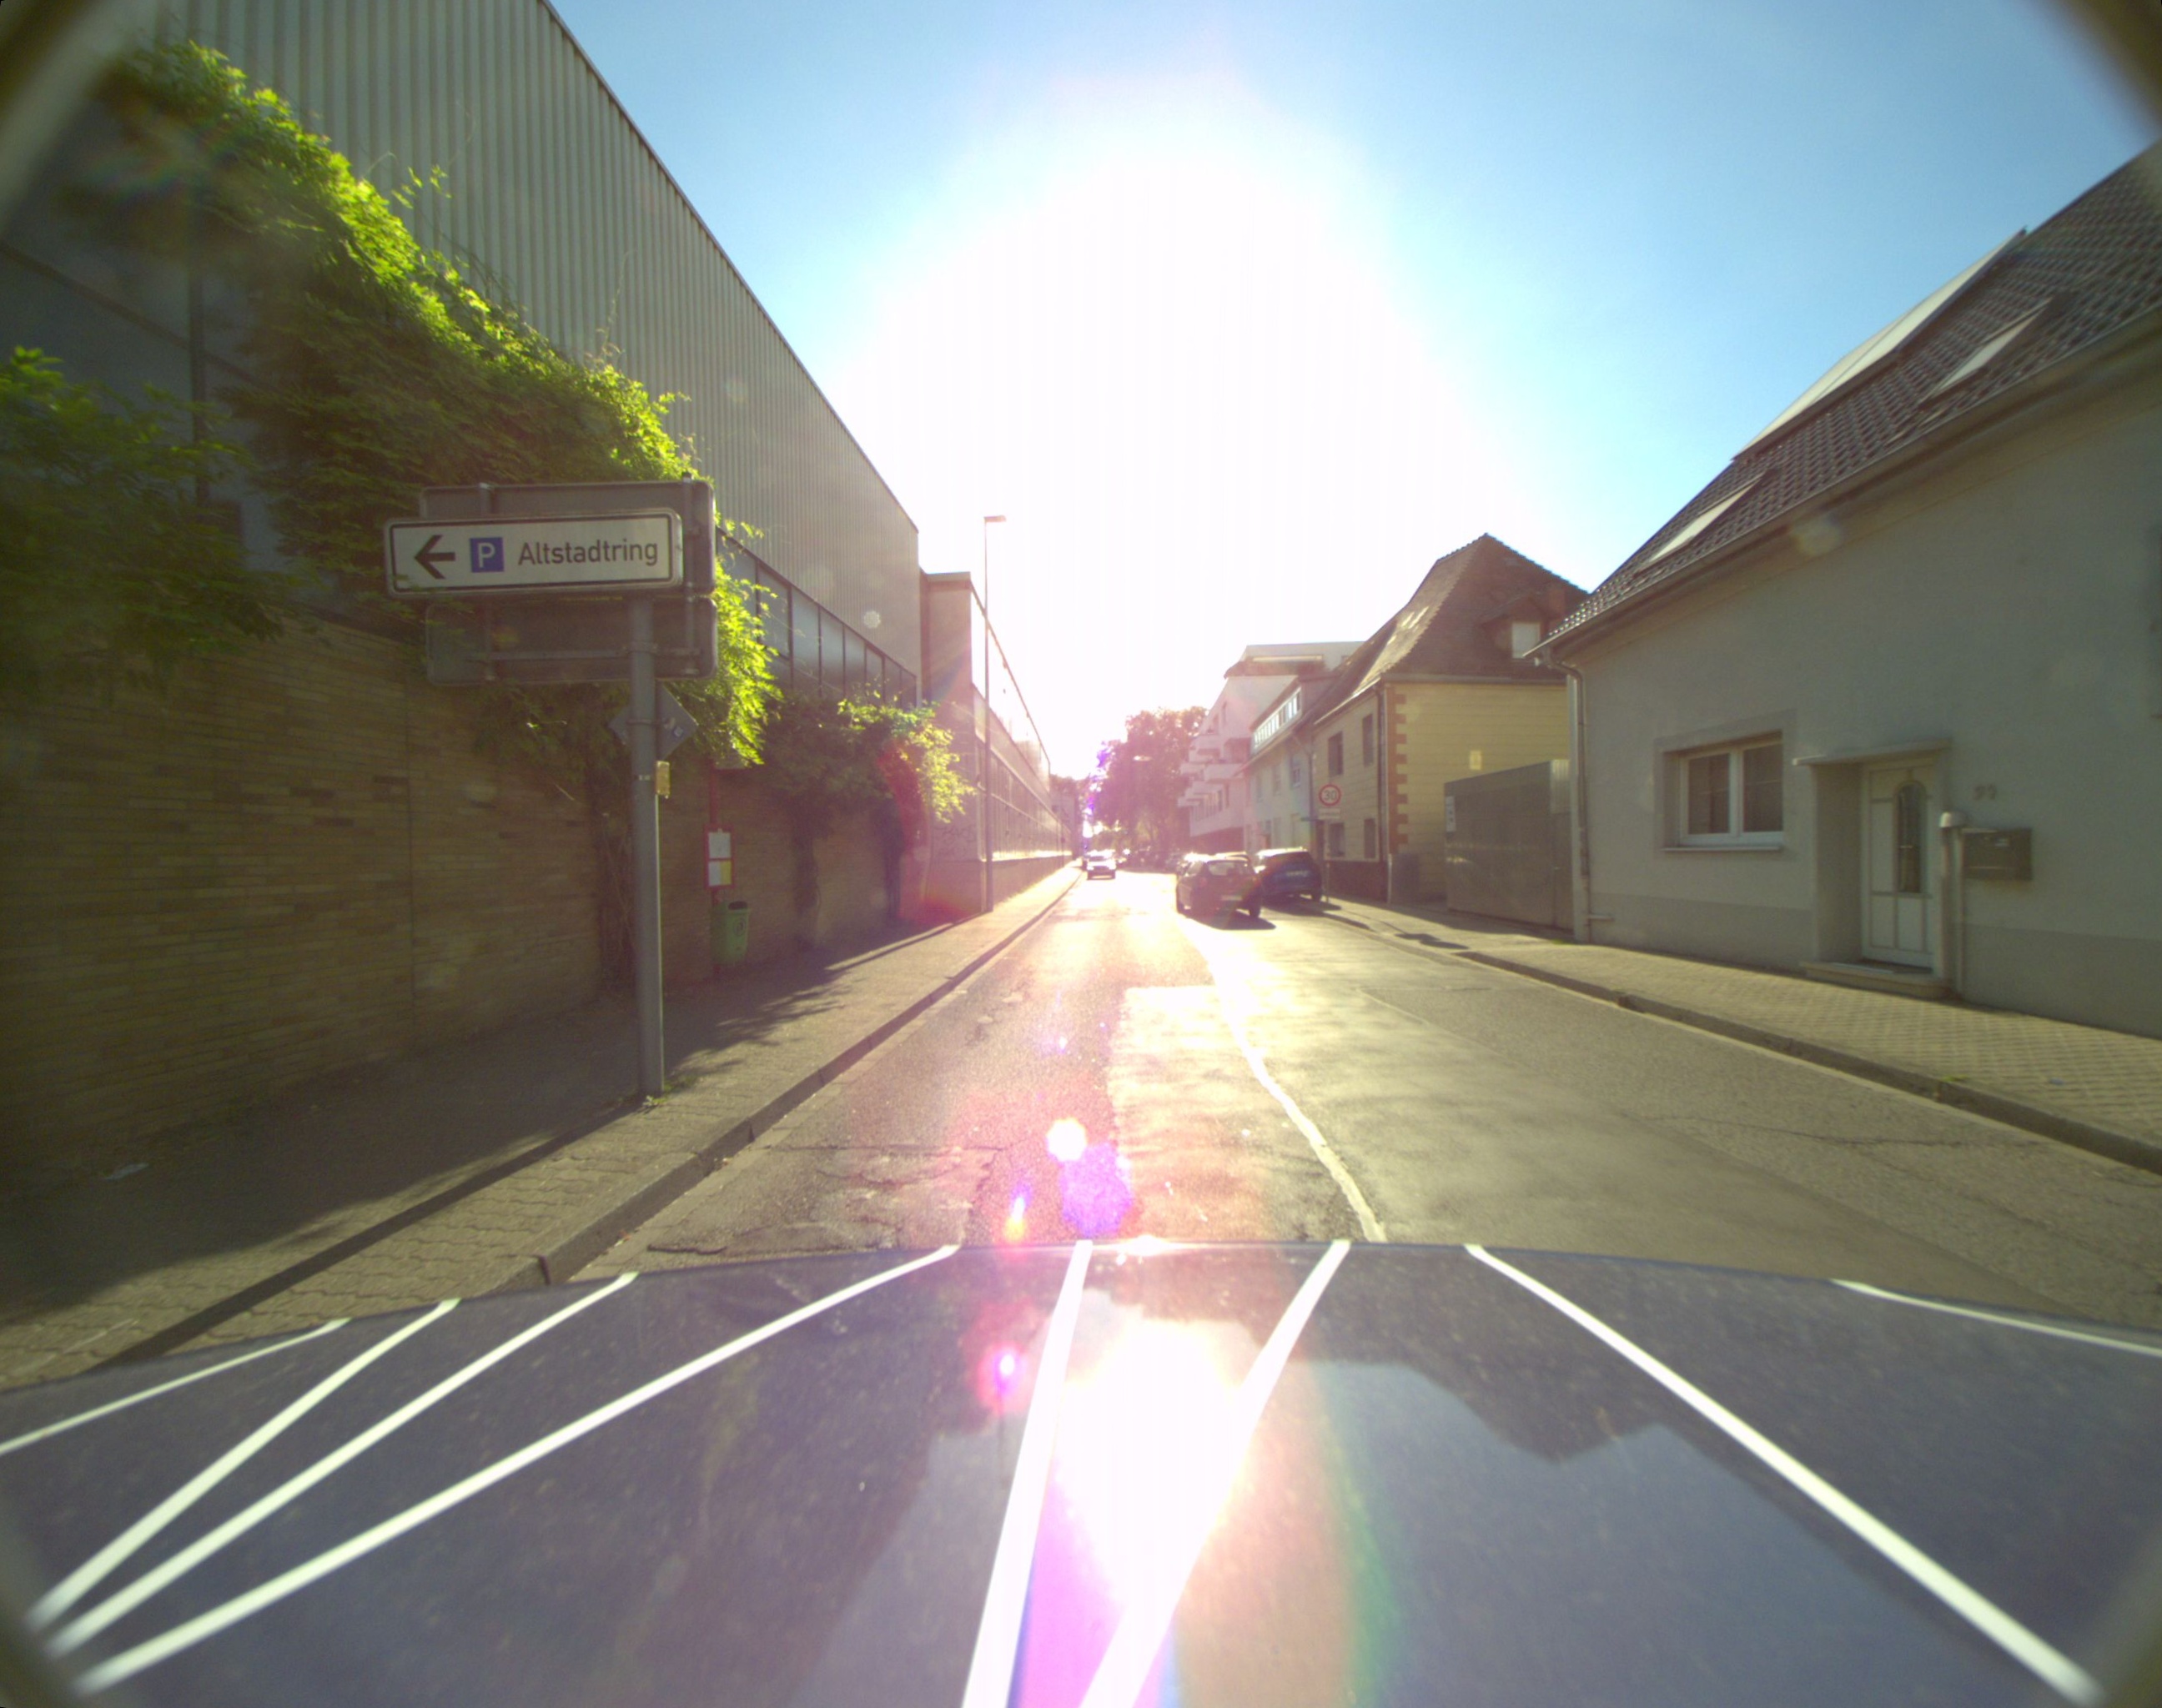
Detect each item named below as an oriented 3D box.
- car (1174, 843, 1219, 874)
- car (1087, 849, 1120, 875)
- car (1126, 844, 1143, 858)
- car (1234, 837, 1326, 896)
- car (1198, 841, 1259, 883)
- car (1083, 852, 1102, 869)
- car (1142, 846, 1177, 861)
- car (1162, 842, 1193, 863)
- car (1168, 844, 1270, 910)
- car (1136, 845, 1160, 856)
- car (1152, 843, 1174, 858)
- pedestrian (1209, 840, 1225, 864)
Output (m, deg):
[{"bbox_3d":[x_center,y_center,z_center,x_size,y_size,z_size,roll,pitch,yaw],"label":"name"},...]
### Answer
[{"bbox_3d":[6.377,0.215,42.411,1.689,1.526,4.333,-3,1,-2],"label":"car"},{"bbox_3d":[1.442,0.504,49.476,1.854,1.527,3.856,-3,1,-1],"label":"car"},{"bbox_3d":[6.131,-0.354,86.782,1.846,1.482,4.145,2,1,4],"label":"car"},{"bbox_3d":[6.095,0.400,23.730,1.813,1.577,4.194,-3,-1,2],"label":"car"},{"bbox_3d":[6.241,0.349,32.633,1.862,1.577,4.337,-3,0,3],"label":"car"},{"bbox_3d":[1.164,0.682,78.047,1.811,1.578,4.404,-3,1,0],"label":"car"},{"bbox_3d":[9.918,-0.070,95.904,3.965,1.653,1.696,-3,1,-26],"label":"car"},{"bbox_3d":[8.210,-0.156,65.183,1.862,1.578,4.620,-3,1,-1],"label":"car"},{"bbox_3d":[3.405,0.500,19.539,1.847,1.482,4.143,1,1,0],"label":"car"},{"bbox_3d":[12.462,-0.645,141.098,4.005,1.876,1.713,-3,1,-25],"label":"car"},{"bbox_3d":[8.254,-0.377,76.745,1.679,1.425,3.770,-3,1,0],"label":"car"},{"bbox_3d":[10.811,-0.163,60.238,0.862,1.808,1.134,-5,0,25],"label":"pedestrian"}]
